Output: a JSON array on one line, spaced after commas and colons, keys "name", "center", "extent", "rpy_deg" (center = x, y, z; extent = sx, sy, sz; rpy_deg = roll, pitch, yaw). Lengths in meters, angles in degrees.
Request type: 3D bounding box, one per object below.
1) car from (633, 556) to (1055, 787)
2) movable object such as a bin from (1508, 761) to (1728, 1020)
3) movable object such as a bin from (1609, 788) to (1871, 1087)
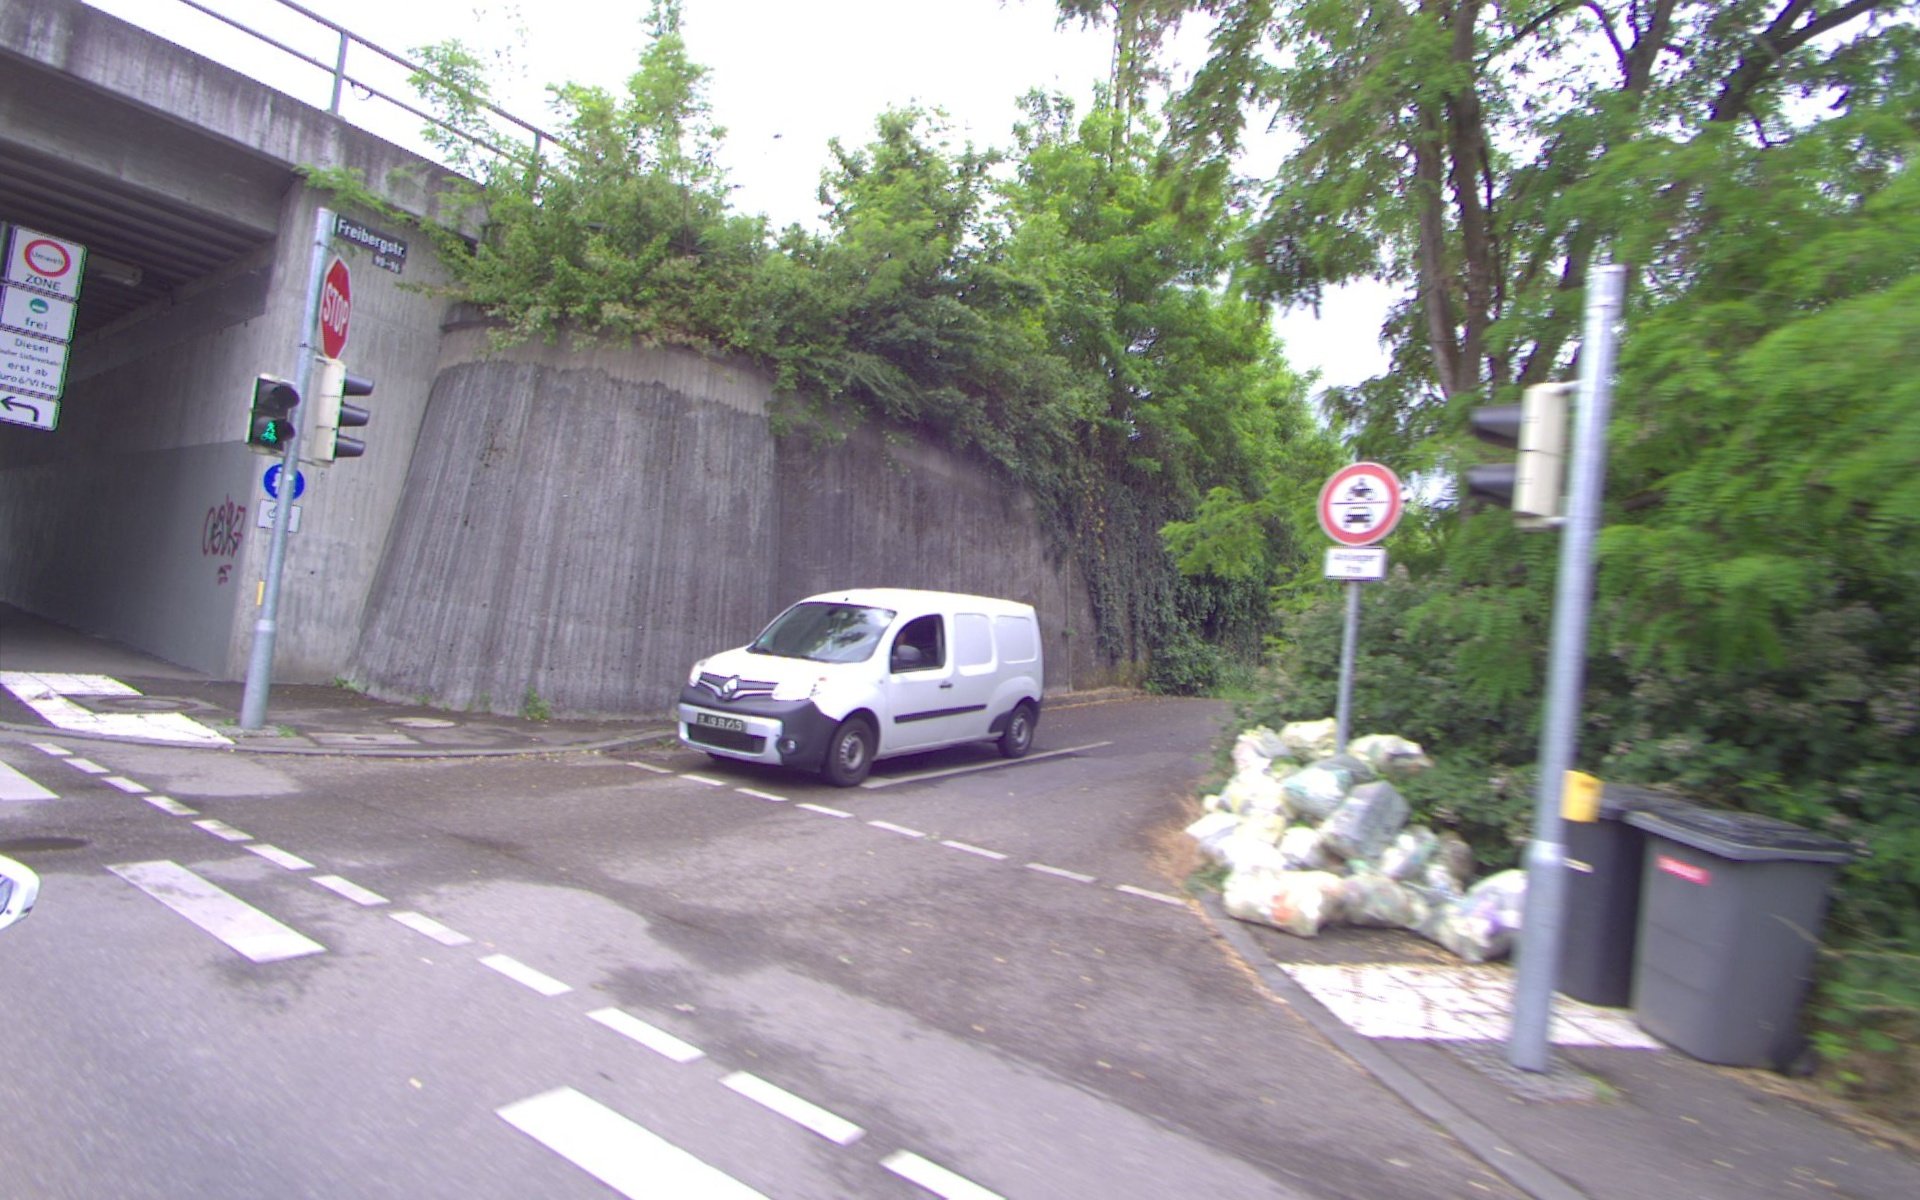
[{"name": "car", "center": [-0.924, 0.686, 10.447], "extent": [1.798, 1.806, 4.482], "rpy_deg": [4, -1, 34]}, {"name": "movable object such as a bin", "center": [3.363, 1.461, 5.178], "extent": [0.633, 1.128, 0.575], "rpy_deg": [8, -2, -9]}, {"name": "movable object such as a bin", "center": [3.506, 1.493, 4.560], "extent": [0.633, 1.128, 0.575], "rpy_deg": [8, -2, -9]}]
